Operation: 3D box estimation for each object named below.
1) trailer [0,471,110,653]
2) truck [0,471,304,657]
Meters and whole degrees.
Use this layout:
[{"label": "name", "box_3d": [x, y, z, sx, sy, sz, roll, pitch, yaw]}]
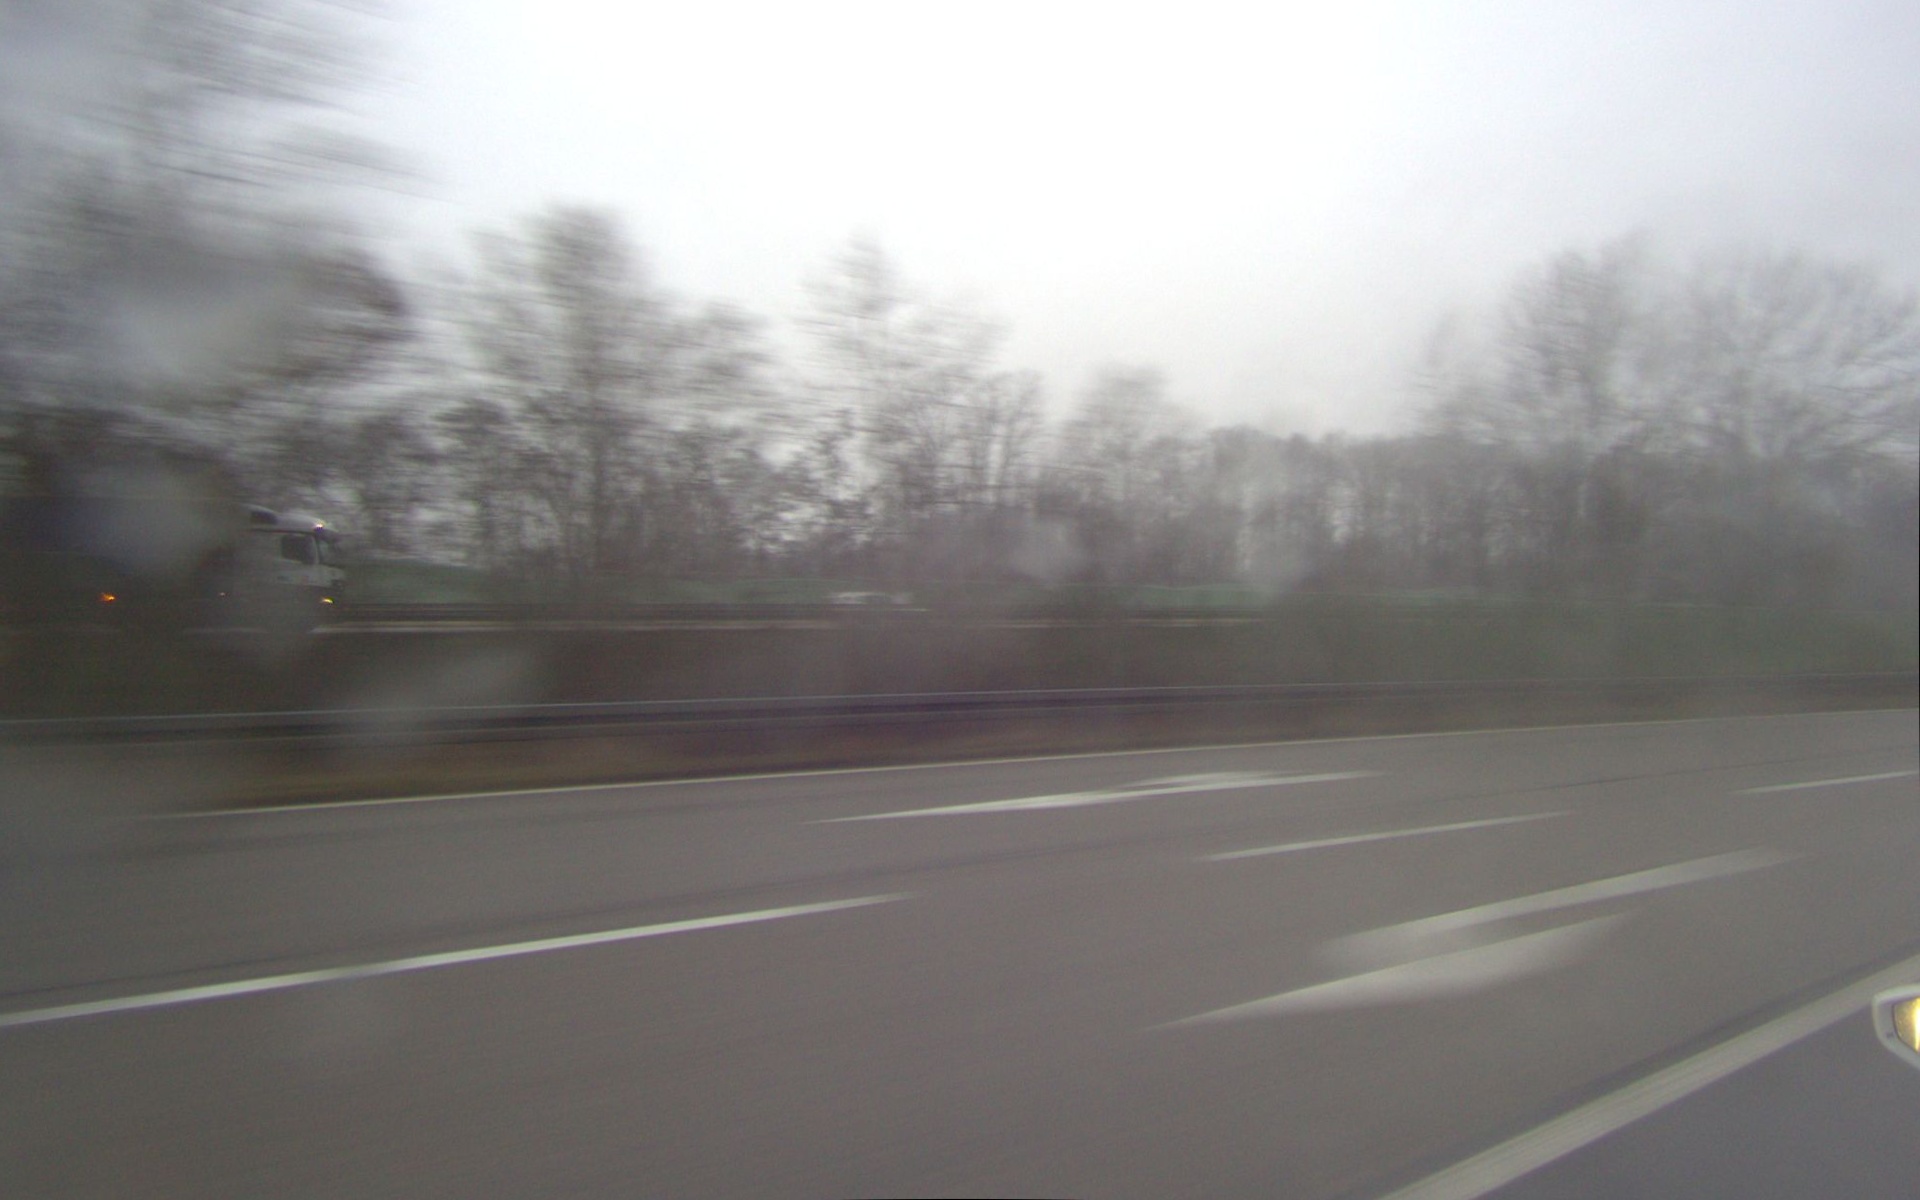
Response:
[{"label": "trailer", "box_3d": [-33.049, -1.250, 28.545, 13.023, 5.170, 3.300, 2, -2, -19]}, {"label": "truck", "box_3d": [-25.753, -0.971, 31.070, 8.387, 5.197, 3.272, 2, -2, -19]}]
